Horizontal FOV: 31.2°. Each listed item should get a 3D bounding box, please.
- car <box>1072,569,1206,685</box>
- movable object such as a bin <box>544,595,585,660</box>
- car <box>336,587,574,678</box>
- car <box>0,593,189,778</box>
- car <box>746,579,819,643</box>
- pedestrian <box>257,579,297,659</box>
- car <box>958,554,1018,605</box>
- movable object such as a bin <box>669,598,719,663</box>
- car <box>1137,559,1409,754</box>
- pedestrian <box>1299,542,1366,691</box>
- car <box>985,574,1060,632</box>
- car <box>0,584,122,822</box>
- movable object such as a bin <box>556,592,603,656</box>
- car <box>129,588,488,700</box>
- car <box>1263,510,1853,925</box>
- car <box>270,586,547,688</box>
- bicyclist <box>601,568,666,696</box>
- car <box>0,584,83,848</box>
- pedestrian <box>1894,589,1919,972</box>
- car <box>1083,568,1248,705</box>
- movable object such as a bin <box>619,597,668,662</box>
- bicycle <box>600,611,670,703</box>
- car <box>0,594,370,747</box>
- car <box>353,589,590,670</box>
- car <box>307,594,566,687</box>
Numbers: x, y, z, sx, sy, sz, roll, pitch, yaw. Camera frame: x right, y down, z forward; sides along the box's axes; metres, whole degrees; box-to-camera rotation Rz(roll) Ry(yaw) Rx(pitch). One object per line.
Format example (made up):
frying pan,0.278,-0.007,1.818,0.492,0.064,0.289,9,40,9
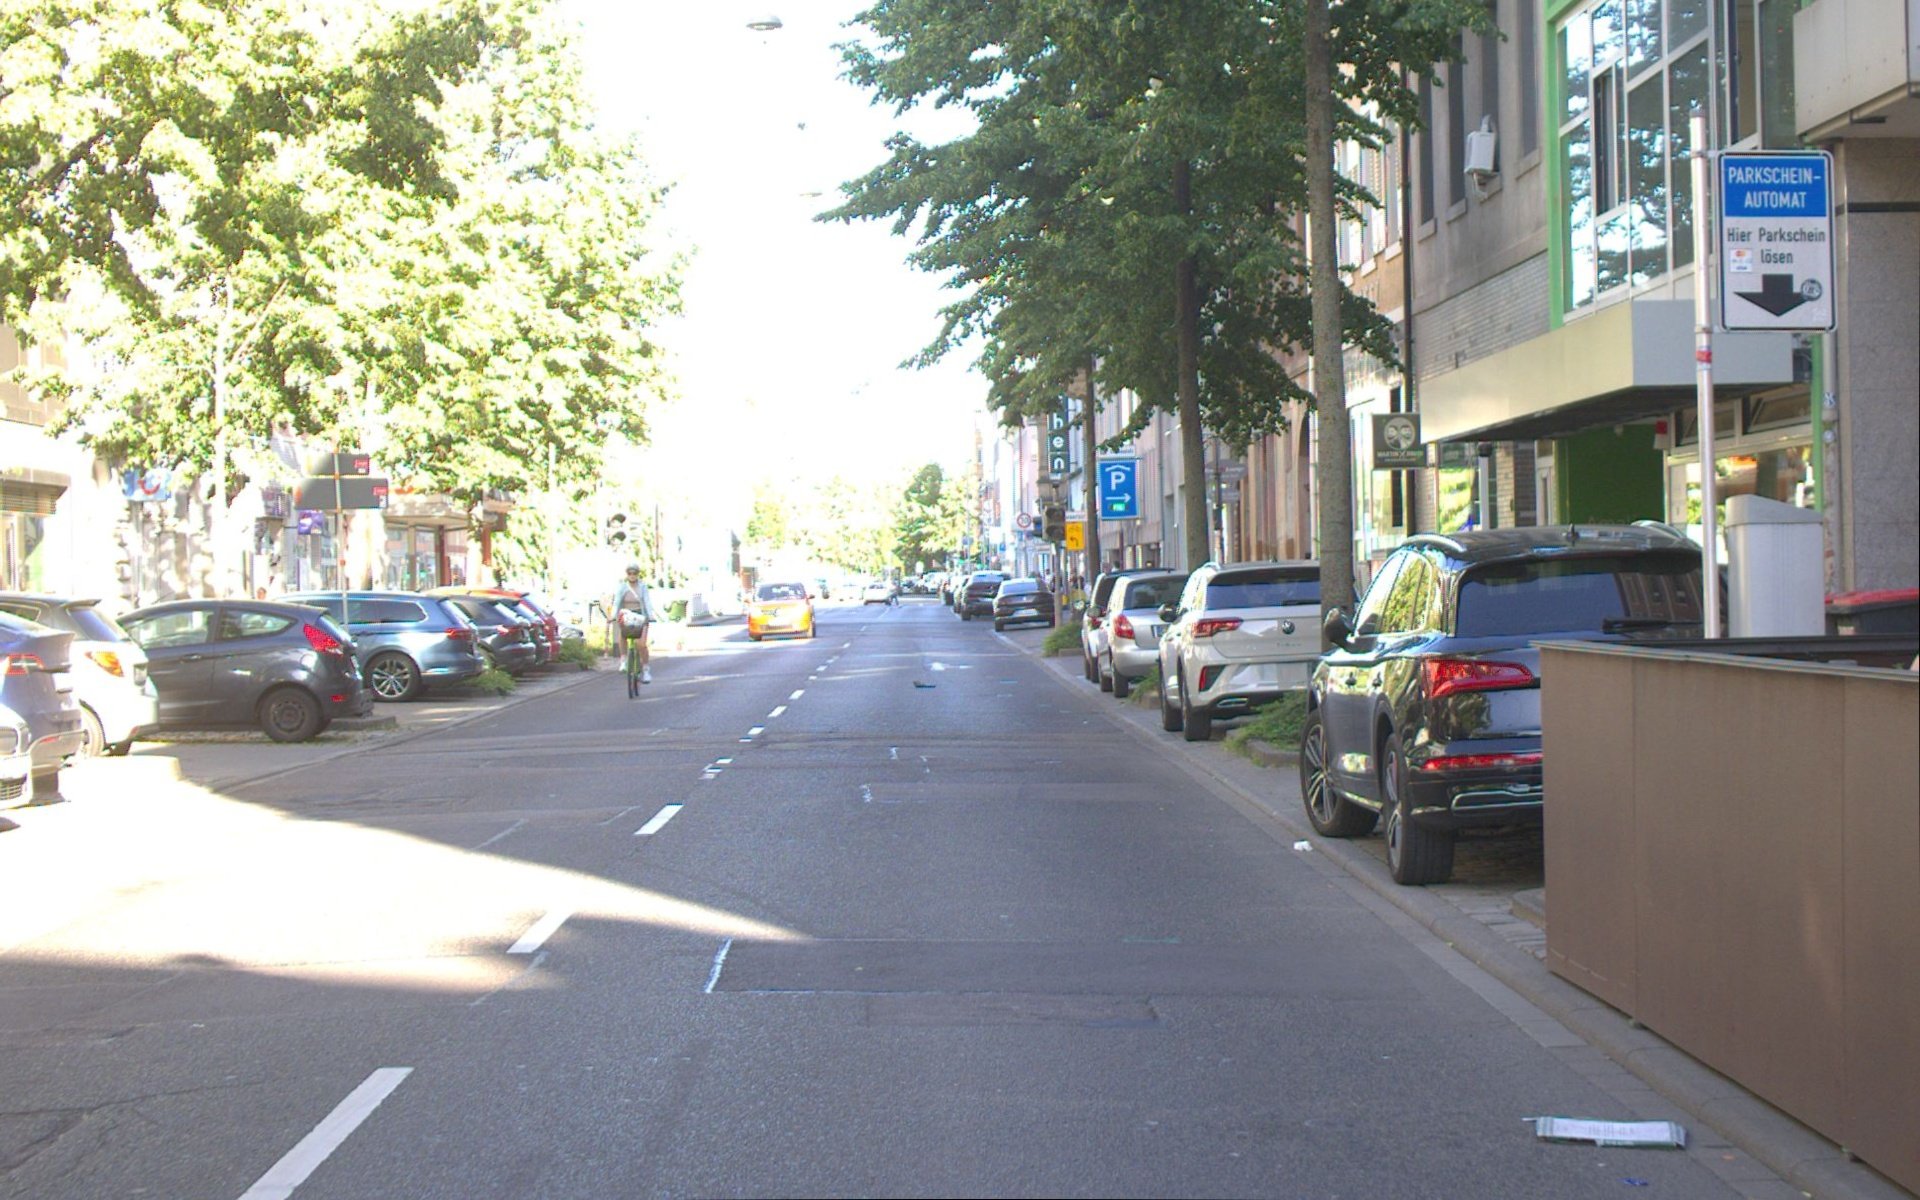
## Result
car,2.538,0.366,49.320,1.613,1.523,3.061,-3,0,-1
movable object such as a bin,-8.376,0.578,72.877,0.754,1.336,0.805,-2,0,-2
car,-8.457,0.530,57.753,3.748,1.463,1.740,-1,0,-1
car,-8.698,0.710,28.477,4.244,1.454,1.980,-1,0,-4
car,-4.616,0.270,89.838,1.658,1.530,3.760,-3,0,0
pedestrian,-12.128,0.332,61.061,0.508,1.403,0.825,0,1,4
car,0.943,-0.727,118.756,1.973,1.719,4.824,0,1,0
movable object such as a bin,-6.189,0.699,79.969,1.042,1.466,1.453,-2,0,-2
car,2.739,0.458,31.002,1.883,1.522,4.234,-4,1,-1
pedestrian,4.498,0.195,41.573,0.623,1.759,0.771,-4,0,0
car,1.785,0.055,99.185,1.917,1.473,4.964,-5,0,0
car,-8.237,0.708,23.808,4.366,1.565,1.980,-1,0,0
movable object such as a bin,-8.845,0.548,79.965,0.964,1.466,1.143,-1,0,-2
car,-8.666,0.577,46.000,4.492,1.454,1.790,0,0,-2
car,2.847,0.500,17.470,1.993,1.684,4.517,-4,1,-1
car,-8.379,0.558,52.450,3.919,1.480,1.771,-1,0,1
bicyclist,-4.402,0.425,46.481,0.725,1.694,1.282,-1,0,0
car,-7.915,0.719,21.457,4.366,1.565,1.946,-1,0,0
pedestrian,3.553,0.623,12.101,0.473,1.326,0.483,-1,0,19
car,2.554,0.422,43.516,1.614,1.523,4.235,-5,0,-1
movable object such as a bin,-7.343,0.679,79.825,1.042,1.466,1.143,-2,0,-2
bicycle,-4.403,0.760,46.636,0.725,1.165,2.197,-1,1,0
car,-8.000,0.697,35.174,3.779,1.454,1.781,-1,0,-8
car,-9.236,0.546,65.237,4.203,1.463,1.739,-1,0,2
car,-8.367,0.642,55.158,3.841,1.424,1.789,-1,0,1
